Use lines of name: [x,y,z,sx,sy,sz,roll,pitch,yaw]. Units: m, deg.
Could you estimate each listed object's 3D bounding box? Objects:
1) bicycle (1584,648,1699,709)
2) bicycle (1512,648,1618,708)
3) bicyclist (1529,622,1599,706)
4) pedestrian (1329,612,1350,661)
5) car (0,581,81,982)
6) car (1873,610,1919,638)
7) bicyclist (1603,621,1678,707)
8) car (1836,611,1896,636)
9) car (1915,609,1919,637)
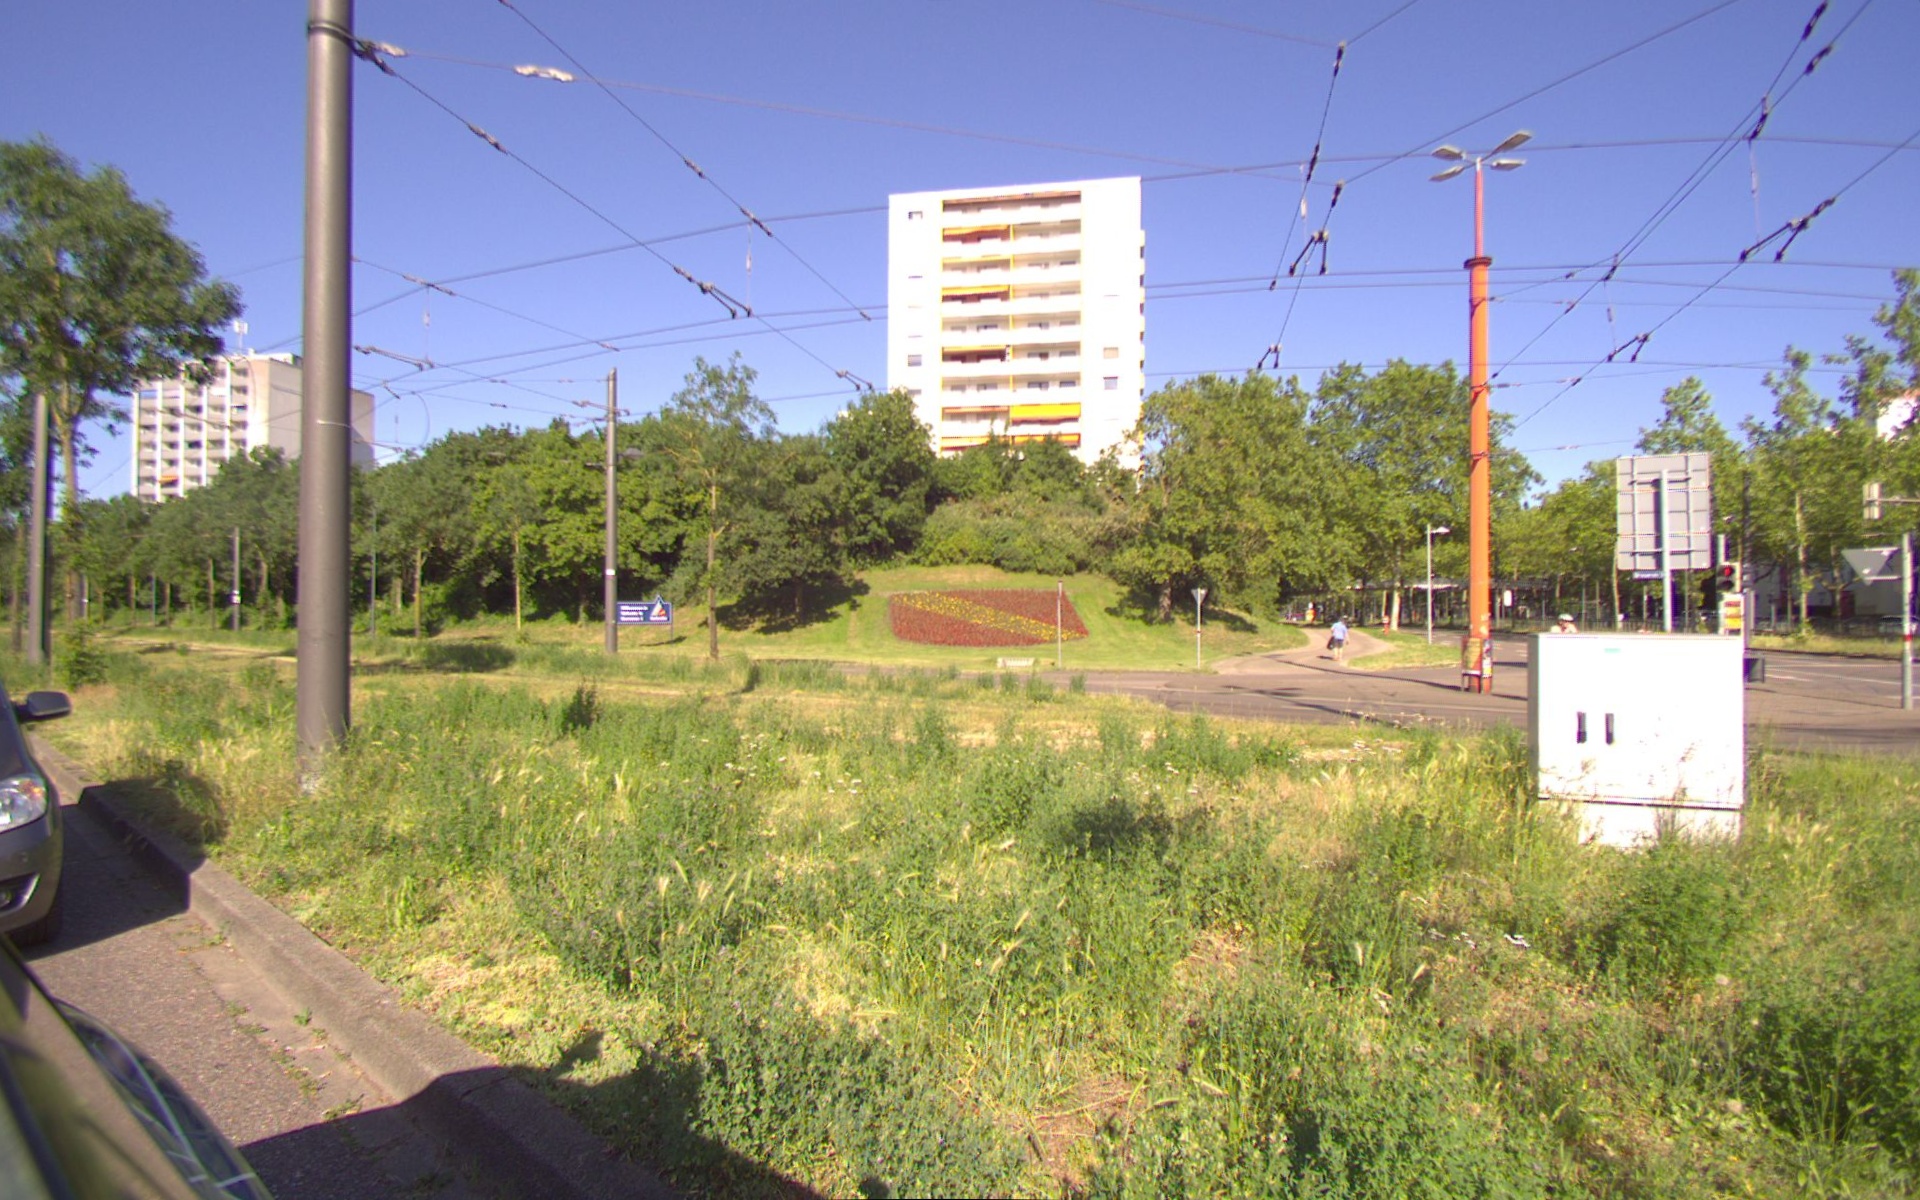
bicycle: [13.364,1.523,19.920,0.915,1.095,1.888,0,-1,-2]
bicycle: [12.098,1.538,20.322,0.915,1.095,1.888,0,-1,-2]
bicyclist: [12.103,1.260,20.305,0.920,1.650,0.741,0,-1,-1]
pedestrian: [15.313,1.459,40.862,0.729,1.949,0.726,-1,-2,24]
car: [-5.935,0.756,5.049,4.382,1.619,1.754,-1,-2,41]
car: [65.261,1.647,69.863,3.931,1.829,2.006,1,-2,-27]
bicyclist: [13.360,1.243,19.886,0.920,1.650,0.741,0,-1,-1]
car: [66.029,1.703,73.759,3.931,1.829,2.006,1,-2,-27]
car: [64.418,1.509,65.901,3.931,1.829,2.006,1,-2,-27]
